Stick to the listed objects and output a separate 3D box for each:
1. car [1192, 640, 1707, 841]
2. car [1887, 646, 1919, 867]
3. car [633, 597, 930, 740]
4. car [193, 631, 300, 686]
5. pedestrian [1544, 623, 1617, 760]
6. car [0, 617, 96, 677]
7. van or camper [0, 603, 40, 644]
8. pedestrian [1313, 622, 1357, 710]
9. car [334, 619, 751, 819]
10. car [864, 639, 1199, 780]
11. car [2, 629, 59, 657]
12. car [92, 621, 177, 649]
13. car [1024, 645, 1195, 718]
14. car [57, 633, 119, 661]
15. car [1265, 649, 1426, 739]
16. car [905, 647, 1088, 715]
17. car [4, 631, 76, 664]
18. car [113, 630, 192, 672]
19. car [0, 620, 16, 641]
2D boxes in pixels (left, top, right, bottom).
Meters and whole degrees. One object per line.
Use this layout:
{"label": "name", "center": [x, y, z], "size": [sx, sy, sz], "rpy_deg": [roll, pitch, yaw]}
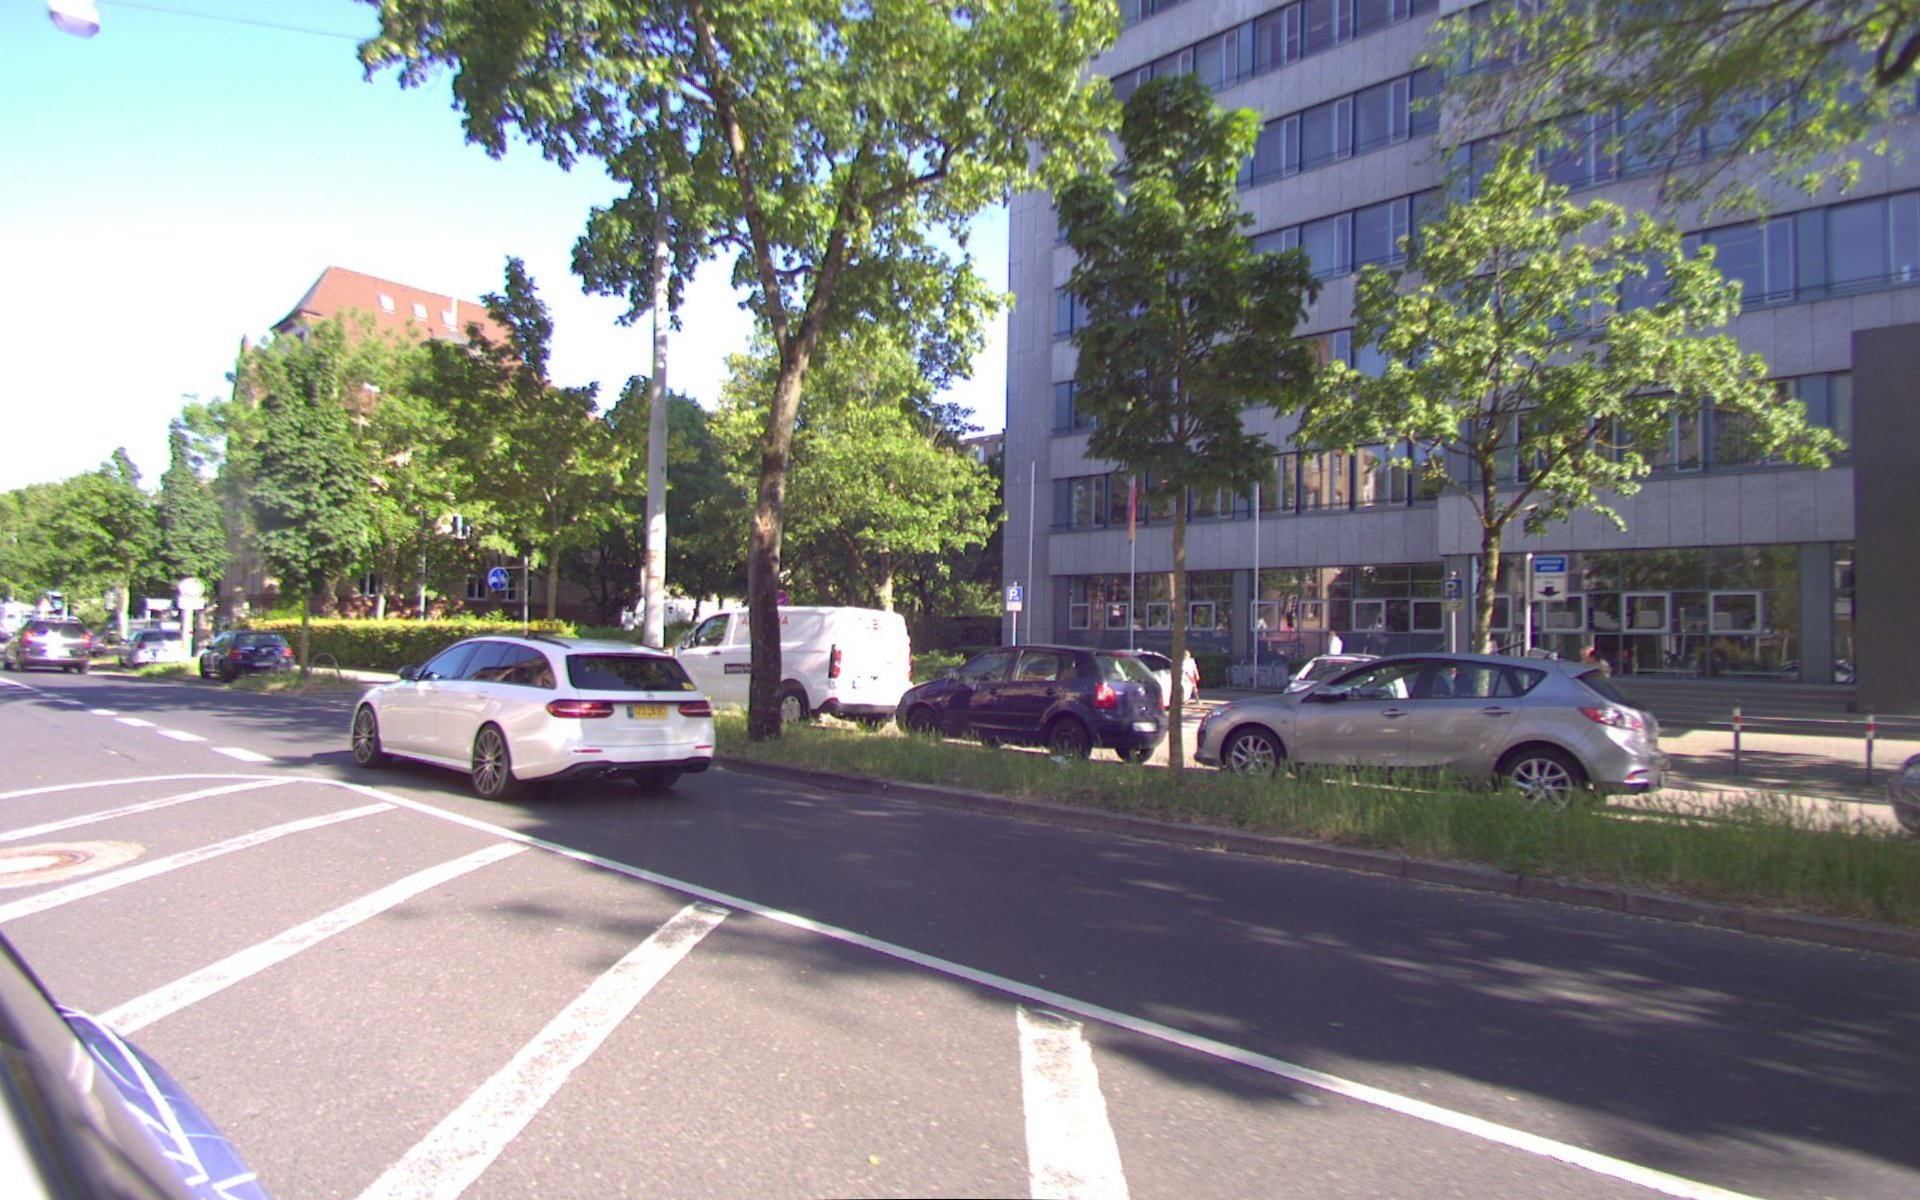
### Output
{"label": "car", "center": [4.711, 1.194, 10.120], "size": [4.316, 1.534, 1.836], "rpy_deg": [-1, -2, 41]}
{"label": "car", "center": [8.777, 1.096, 6.534], "size": [4.062, 1.534, 1.836], "rpy_deg": [-1, -2, 42]}
{"label": "car", "center": [-3.144, 1.108, 17.185], "size": [5.190, 2.092, 1.962], "rpy_deg": [-1, -5, 38]}
{"label": "car", "center": [-20.699, 1.651, 29.293], "size": [4.071, 1.470, 1.693], "rpy_deg": [-1, -2, 42]}
{"label": "pedestrian", "center": [9.952, 1.434, 16.247], "size": [0.779, 2.109, 0.775], "rpy_deg": [1, -1, -38]}
{"label": "car", "center": [-30.287, 1.534, 33.405], "size": [4.606, 1.839, 1.837], "rpy_deg": [-1, -5, 40]}
{"label": "van or camper", "center": [-66.402, 1.645, 70.830], "size": [6.084, 2.760, 2.193], "rpy_deg": [-2, -3, 41]}
{"label": "pedestrian", "center": [9.318, 1.616, 25.160], "size": [0.792, 2.109, 0.763], "rpy_deg": [0, -1, 42]}
{"label": "car", "center": [-4.376, 1.045, 10.233], "size": [4.711, 1.580, 1.837], "rpy_deg": [-1, -5, 40]}
{"label": "car", "center": [0.820, 1.308, 13.484], "size": [4.318, 1.534, 1.762], "rpy_deg": [-1, -2, 43]}
{"label": "car", "center": [-52.040, 2.363, 56.633], "size": [4.718, 1.438, 1.836], "rpy_deg": [-1, 1, 42]}
{"label": "car", "center": [-54.613, 2.313, 67.035], "size": [1.976, 1.683, 4.134], "rpy_deg": [-2, 0, 7]}
{"label": "car", "center": [3.606, 1.822, 23.713], "size": [1.936, 1.453, 4.567], "rpy_deg": [-1, -2, 39]}
{"label": "car", "center": [-40.657, 2.165, 47.156], "size": [4.013, 1.265, 1.660], "rpy_deg": [-1, -2, 41]}
{"label": "car", "center": [7.848, 1.785, 20.378], "size": [1.859, 1.534, 4.263], "rpy_deg": [-1, -2, 38]}
{"label": "car", "center": [0.994, 1.951, 25.457], "size": [4.616, 1.524, 2.010], "rpy_deg": [2, -3, -45]}
{"label": "car", "center": [-47.265, 2.403, 51.977], "size": [4.696, 1.505, 1.839], "rpy_deg": [-1, 0, 36]}
{"label": "car", "center": [-29.192, 1.789, 36.544], "size": [4.191, 1.394, 1.669], "rpy_deg": [-1, -1, 44]}
{"label": "car", "center": [-70.850, 2.230, 74.208], "size": [4.659, 1.468, 1.676], "rpy_deg": [-1, -5, 40]}
